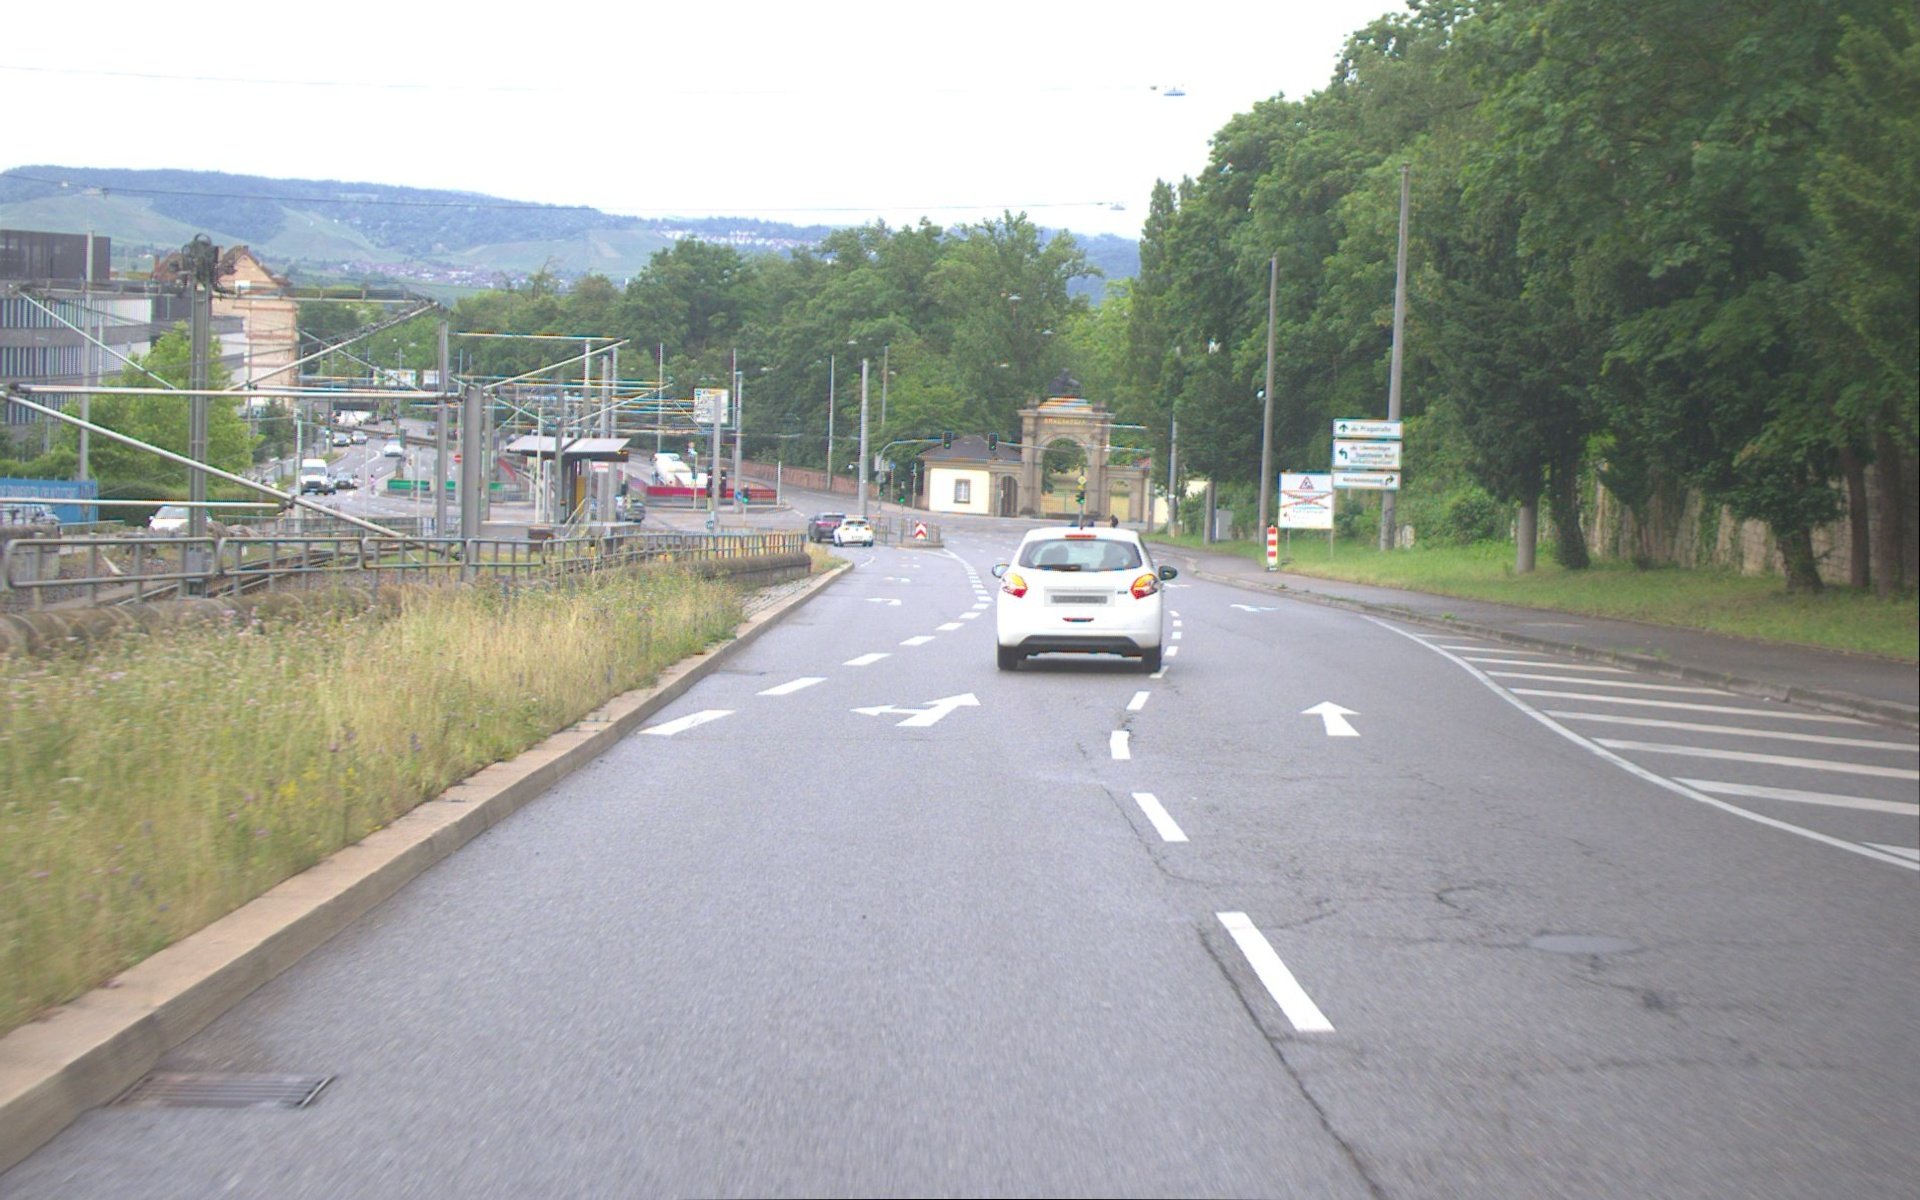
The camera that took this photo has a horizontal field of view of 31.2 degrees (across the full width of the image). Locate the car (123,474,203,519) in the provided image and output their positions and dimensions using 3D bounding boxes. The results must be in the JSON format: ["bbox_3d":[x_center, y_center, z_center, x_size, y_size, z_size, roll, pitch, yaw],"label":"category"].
[{"bbox_3d":[-24.545,-3.211,105.977,1.555,1.287,3.559,2,2,1],"label":"car"}]

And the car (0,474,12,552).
[{"bbox_3d":[-25.245,-2.227,86.207,1.890,1.964,4.036,4,2,-3],"label":"car"}]

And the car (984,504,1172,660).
[{"bbox_3d":[1.196,-0.229,36.127,1.868,1.505,3.900,0,2,1],"label":"car"}]

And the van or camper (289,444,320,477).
[{"bbox_3d":[-47.599,-10.110,249.700,1.993,2.337,4.001,0,1,-8],"label":"van or camper"}]

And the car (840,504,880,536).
[{"bbox_3d":[-5.086,-4.109,175.745,1.822,1.600,4.000,-1,2,1],"label":"car"}]

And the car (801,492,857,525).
[{"bbox_3d":[-7.071,-4.910,184.836,1.993,1.700,4.002,1,2,-17],"label":"car"}]
